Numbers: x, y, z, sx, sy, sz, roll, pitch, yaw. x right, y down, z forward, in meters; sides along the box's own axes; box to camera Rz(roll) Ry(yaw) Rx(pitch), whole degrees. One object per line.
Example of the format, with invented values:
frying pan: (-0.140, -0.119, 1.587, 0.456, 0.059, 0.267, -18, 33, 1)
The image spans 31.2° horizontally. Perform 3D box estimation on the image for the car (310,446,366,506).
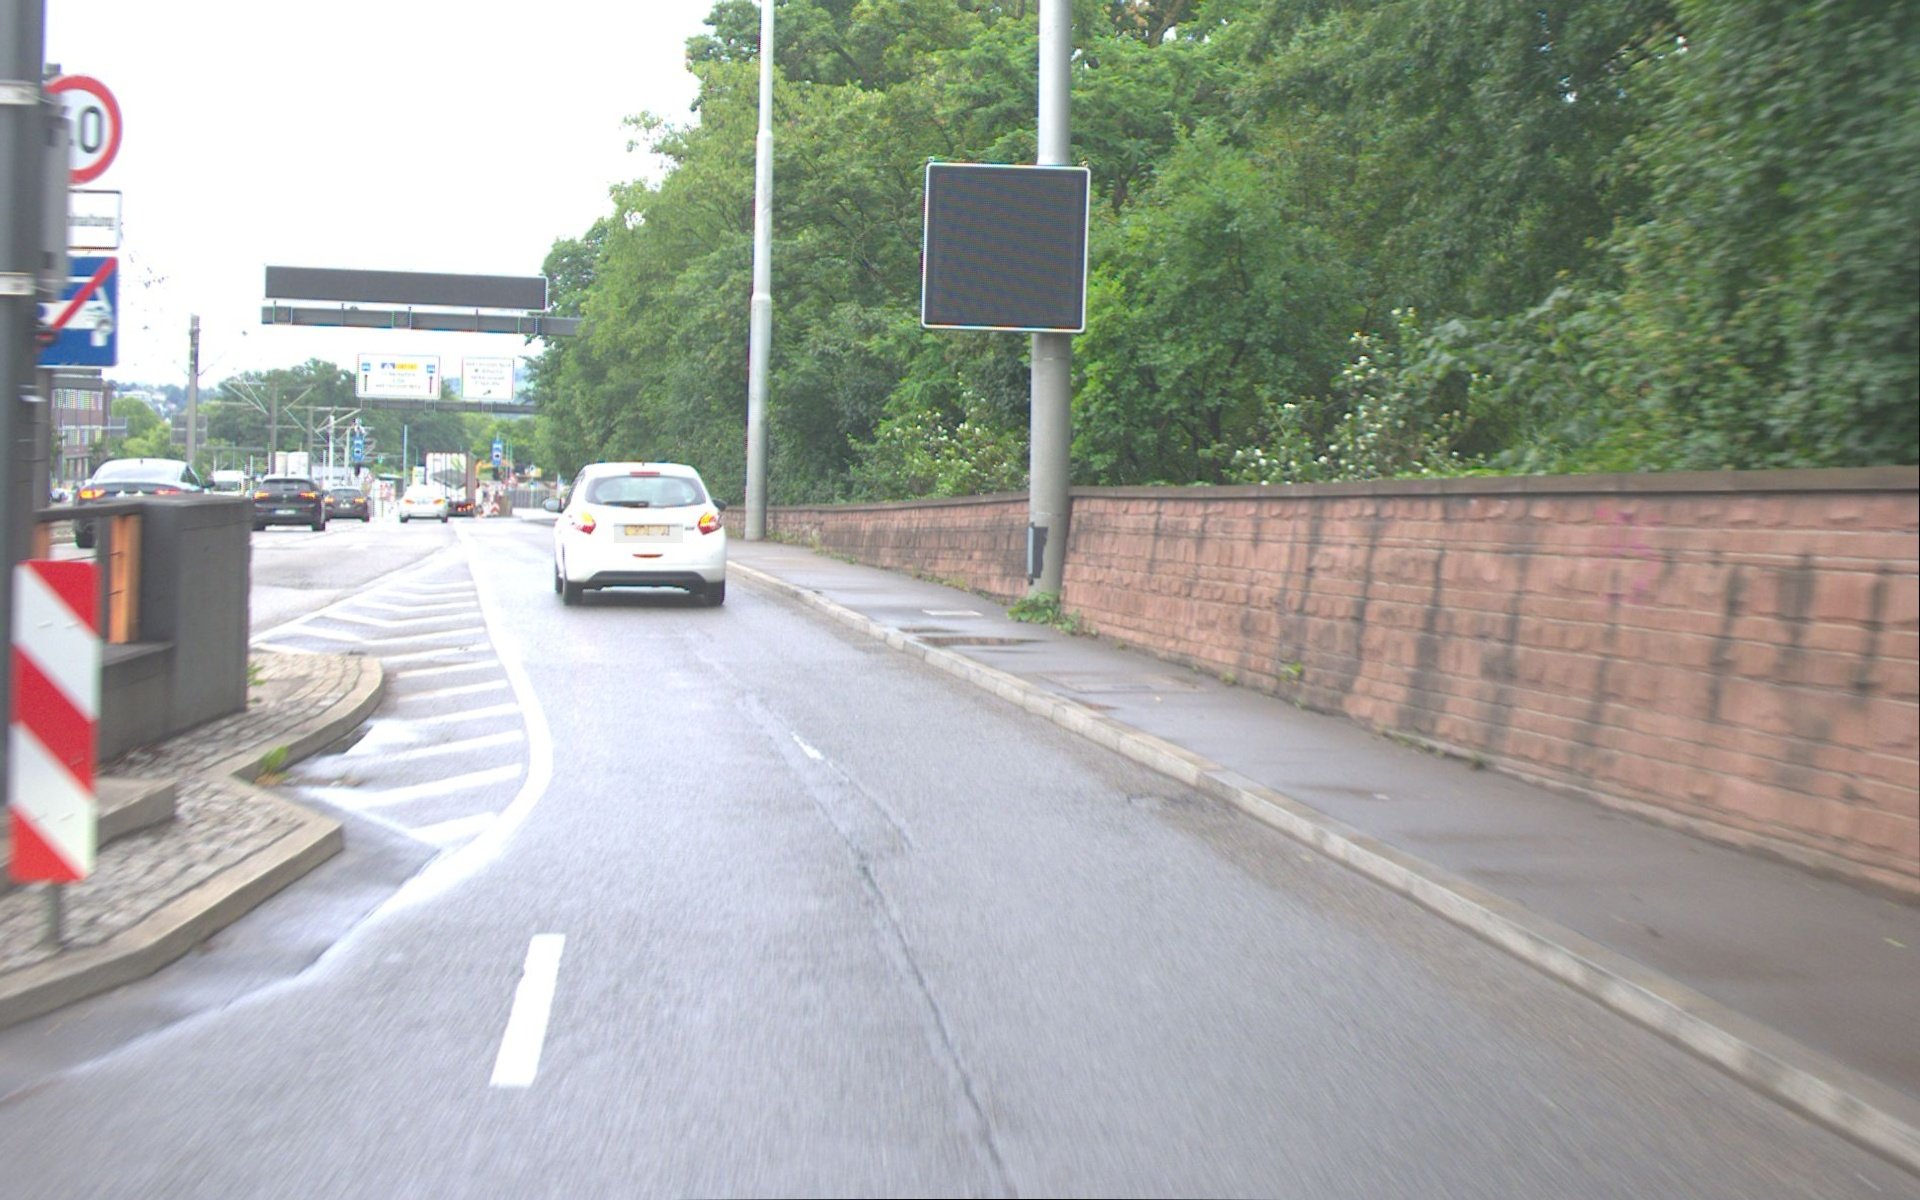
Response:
car: (-24.598, -4.889, 135.998, 1.993, 2.007, 4.001, 3, -2, -9)

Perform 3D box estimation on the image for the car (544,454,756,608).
car: (-3.385, -0.767, 36.894, 1.955, 1.483, 4.001, 3, 2, -9)

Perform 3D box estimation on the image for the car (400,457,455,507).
car: (-21.215, -4.702, 137.091, 2.081, 1.866, 4.097, 1, 1, -8)

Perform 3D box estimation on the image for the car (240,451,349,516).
car: (-17.007, -3.001, 88.008, 1.993, 1.570, 4.001, 1, 3, 0)

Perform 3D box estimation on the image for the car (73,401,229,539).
car: (-12.331, -2.019, 52.574, 1.721, 1.884, 3.536, 2, 5, -4)

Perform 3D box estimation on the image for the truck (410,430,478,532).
truck: (-31.546, -7.183, 210.442, 3.464, 5.383, 12.053, 2, -2, -7)
